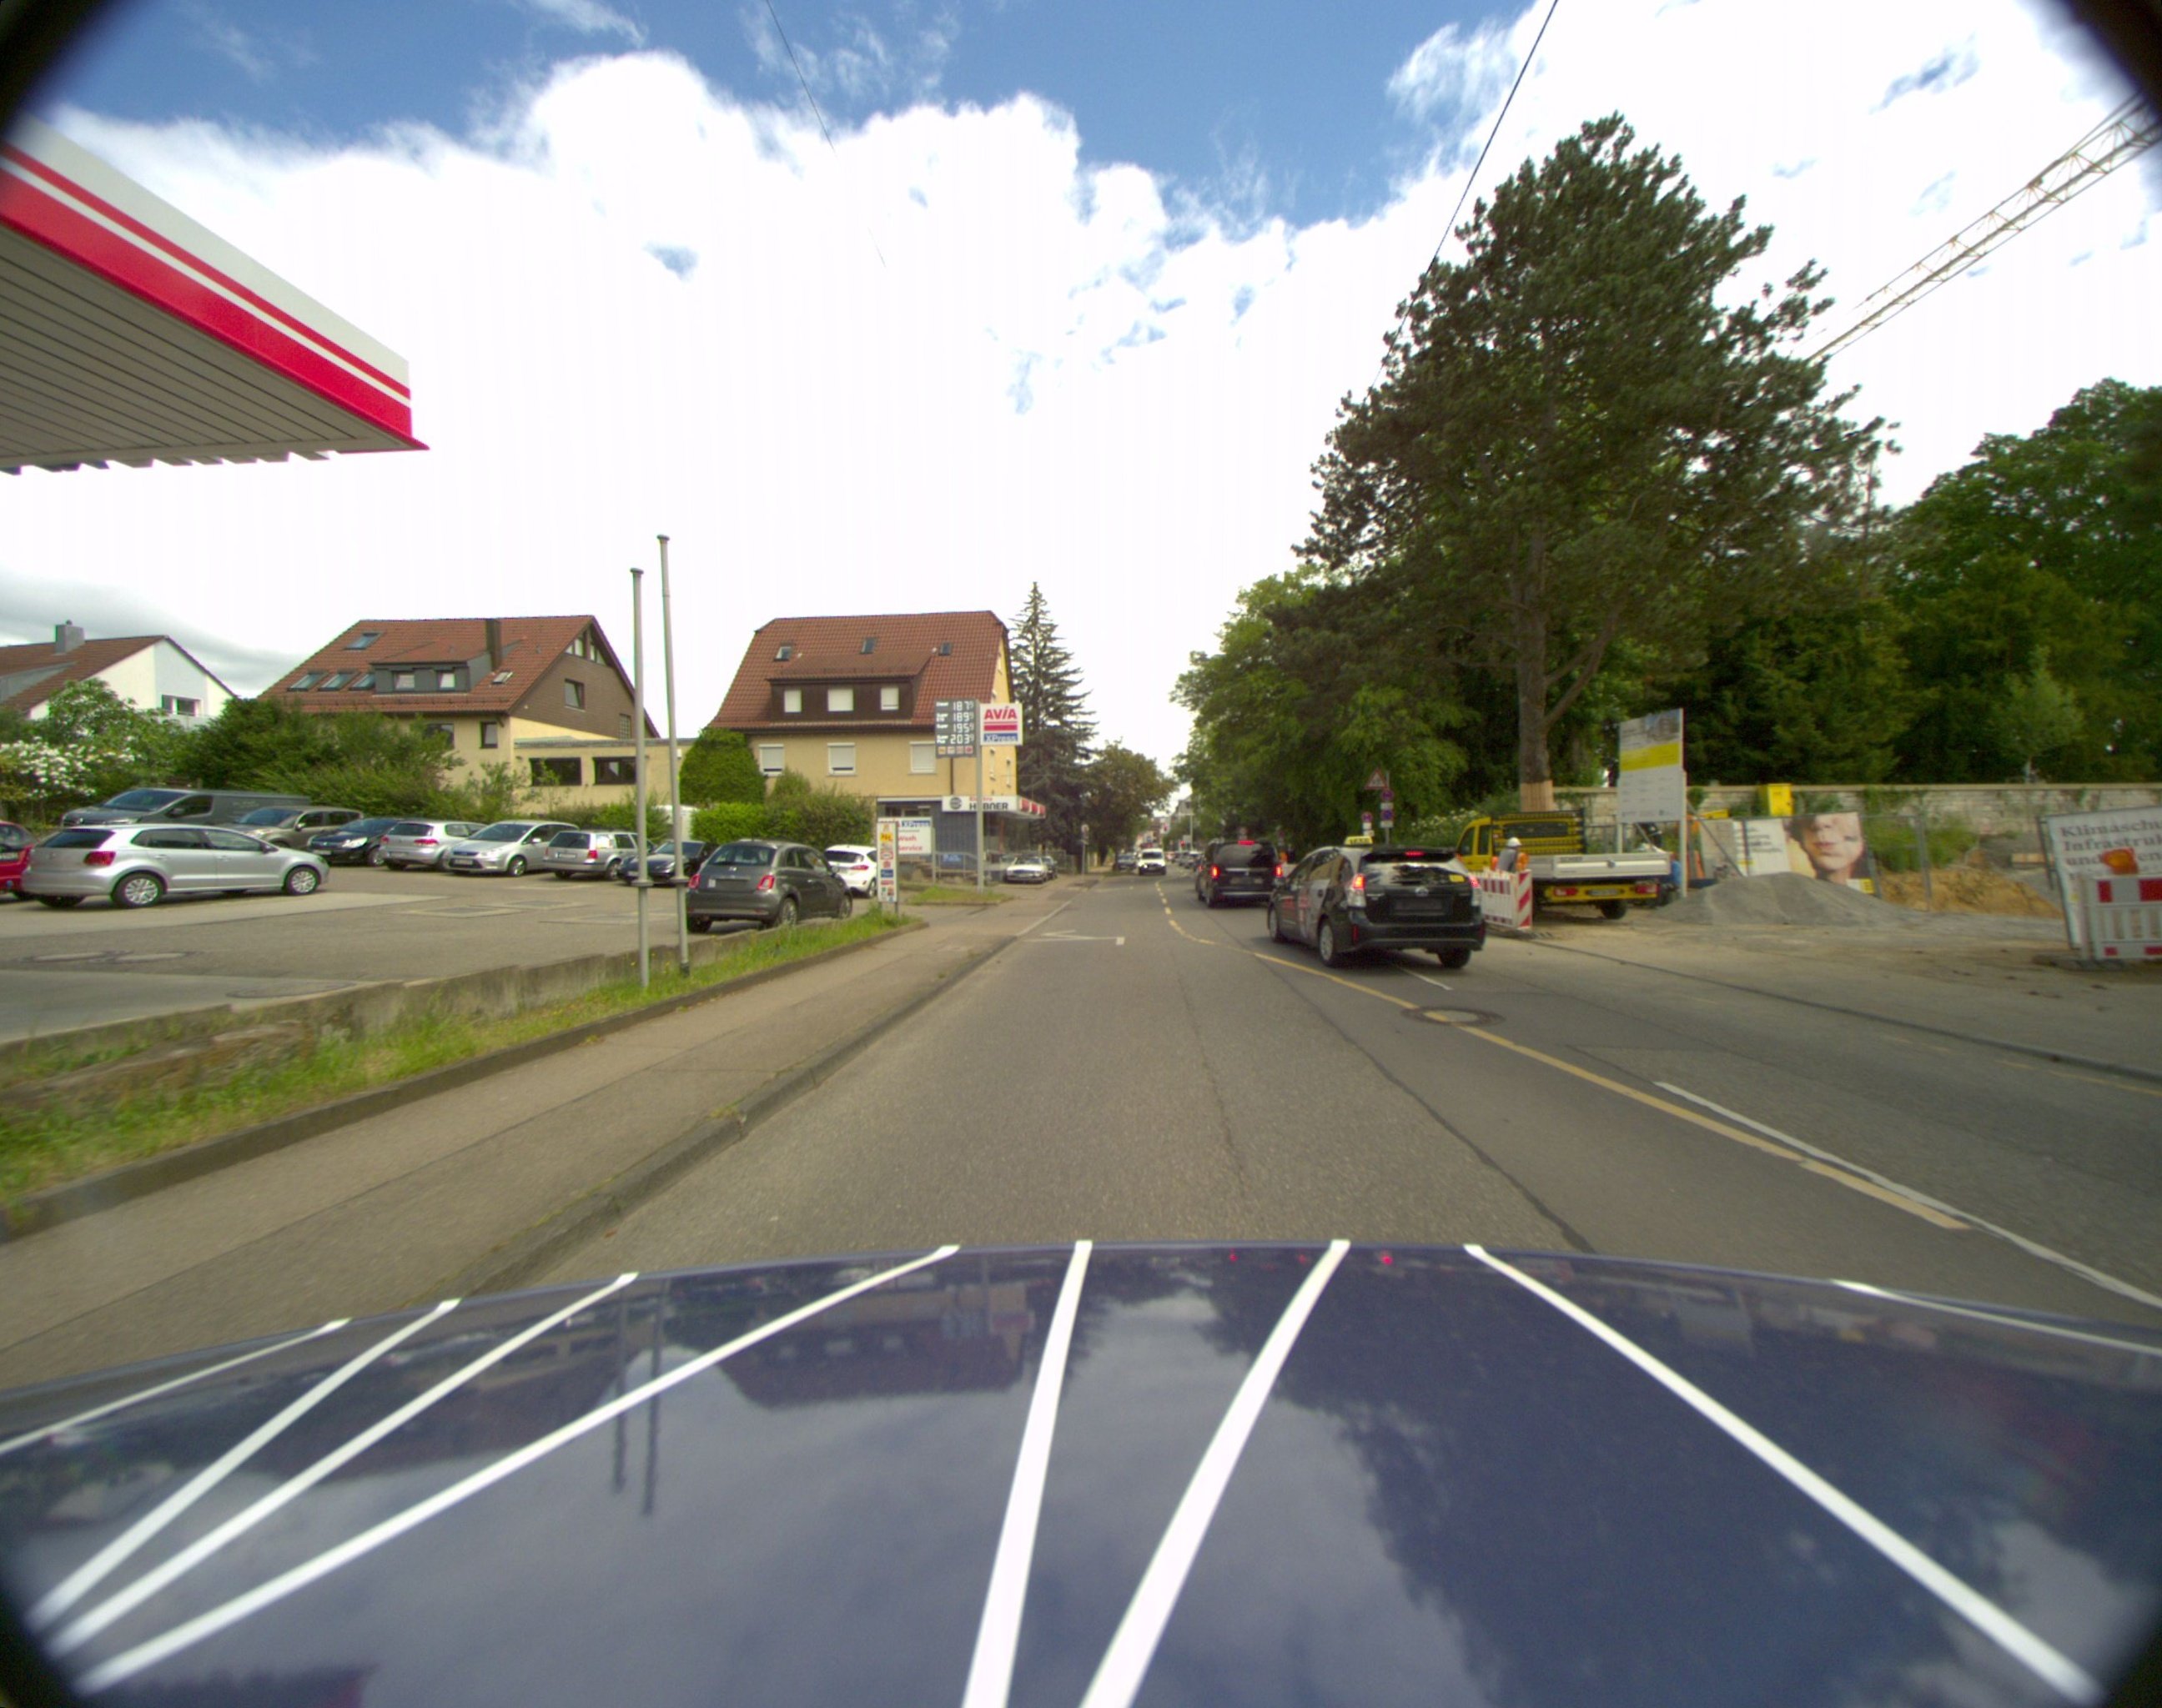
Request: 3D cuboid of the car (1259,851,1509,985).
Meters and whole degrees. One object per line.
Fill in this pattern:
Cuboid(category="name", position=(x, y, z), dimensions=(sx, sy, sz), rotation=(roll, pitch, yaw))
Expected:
Cuboid(category="car", position=(4.002, 0.723, 10.968), dimensions=(1.870, 1.518, 4.528), rotation=(0, 0, 1))

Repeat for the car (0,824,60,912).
Cuboid(category="car", position=(-20.259, 0.222, 13.002), dimensions=(3.750, 1.452, 1.621), rotation=(1, 4, 7))

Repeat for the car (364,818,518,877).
Cuboid(category="car", position=(-19.034, -0.214, 22.812), dimensions=(1.570, 1.560, 3.498), rotation=(3, 2, 2))

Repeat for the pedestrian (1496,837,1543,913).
Cuboid(category="pedestrian", position=(9.153, 0.422, 15.879), dimensions=(0.575, 1.538, 0.655), rotation=(-2, 2, -1))

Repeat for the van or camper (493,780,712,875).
Cuboid(category="van or camper", position=(-16.618, -0.903, 26.653), dimensions=(5.973, 2.834, 2.531), rotation=(3, 1, 1))

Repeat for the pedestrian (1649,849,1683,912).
Cuboid(category="pedestrian", position=(13.378, 0.598, 17.367), dimensions=(0.574, 1.377, 0.539), rotation=(0, 2, 41))

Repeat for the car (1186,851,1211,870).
Cuboid(category="car", position=(10.386, 0.547, 67.393), dimensions=(1.761, 1.582, 4.004), rotation=(1, 1, 4))

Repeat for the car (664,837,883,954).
Cuboid(category="car", position=(-5.115, 0.593, 13.328), dimensions=(1.618, 1.587, 4.161), rotation=(5, 1, 7))

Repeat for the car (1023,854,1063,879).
Cuboid(category="car", position=(-2.077, 0.660, 42.330), dimensions=(1.788, 1.276, 4.317), rotation=(0, 1, 3))

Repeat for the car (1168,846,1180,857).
Cuboid(category="car", position=(14.290, -0.340, 116.883), dimensions=(1.618, 1.582, 4.163), rotation=(1, 1, 4))

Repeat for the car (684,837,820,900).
Cuboid(category="car", position=(-9.394, 0.324, 22.157), dimensions=(1.716, 1.533, 4.656), rotation=(3, 2, 3))

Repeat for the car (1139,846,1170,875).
Cuboid(category="car", position=(5.030, 0.385, 52.431), dimensions=(1.965, 1.796, 4.429), rotation=(-2, 1, 5))

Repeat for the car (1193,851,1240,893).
Cuboid(category="car", position=(5.253, 0.688, 29.784), dimensions=(1.618, 1.514, 3.572), rotation=(0, -1, 7))

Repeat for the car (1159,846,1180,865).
Cuboid(category="car", position=(8.951, 0.141, 77.108), dimensions=(1.965, 1.796, 4.224), rotation=(-2, 1, 5))

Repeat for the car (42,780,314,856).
Cuboid(category="car", position=(-26.607, -1.014, 22.762), dimensions=(1.923, 1.907, 5.136), rotation=(3, 2, 2))

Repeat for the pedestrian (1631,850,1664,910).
Cuboid(category="pedestrian", position=(13.486, 0.602, 18.099), dimensions=(0.574, 1.377, 0.539), rotation=(0, 2, 41))

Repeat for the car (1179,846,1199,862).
Cuboid(category="car", position=(11.526, 0.019, 81.065), dimensions=(1.761, 1.582, 4.163), rotation=(1, 1, 4))

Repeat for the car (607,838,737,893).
Cuboid(category="car", position=(-11.791, 0.262, 22.202), dimensions=(1.640, 1.364, 3.746), rotation=(3, 2, 2))

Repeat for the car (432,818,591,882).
Cuboid(category="car", position=(-16.841, -0.164, 22.739), dimensions=(1.570, 1.674, 4.048), rotation=(3, 2, 2))

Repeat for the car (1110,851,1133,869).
Cuboid(category="car", position=(3.607, 0.509, 67.744), dimensions=(1.938, 1.483, 4.023), rotation=(-2, 1, 4))

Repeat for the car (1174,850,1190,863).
Cuboid(category="car", position=(13.219, 0.328, 99.409), dimensions=(1.761, 1.582, 4.163), rotation=(1, 1, 4))

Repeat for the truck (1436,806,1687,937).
Cuboid(category="truck", position=(10.416, 0.271, 17.273), dimensions=(2.310, 2.406, 6.094), rotation=(-2, 1, 6))

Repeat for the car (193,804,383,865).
Cuboid(category="car", position=(-24.017, -0.585, 23.228), dimensions=(1.570, 1.623, 3.952), rotation=(3, 2, 2))

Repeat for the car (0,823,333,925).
Cuboid(category="car", position=(-16.704, 0.242, 14.153), dimensions=(1.633, 1.493, 3.746), rotation=(3, 4, 6))

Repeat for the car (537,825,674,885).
Cuboid(category="car", position=(-14.184, -0.010, 22.913), dimensions=(1.640, 1.576, 3.746), rotation=(3, 2, 2))

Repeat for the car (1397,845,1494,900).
Cuboid(category="car", position=(10.900, 0.496, 22.945), dimensions=(1.626, 1.499, 3.585), rotation=(-2, 0, 8))

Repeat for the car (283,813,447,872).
Cuboid(category="car", position=(-21.542, -0.373, 23.063), dimensions=(1.570, 1.560, 3.498), rotation=(3, 2, 2))

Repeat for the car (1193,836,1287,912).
Cuboid(category="car", position=(4.444, 0.511, 21.975), dimensions=(1.913, 1.940, 4.914), rotation=(0, 0, 3))

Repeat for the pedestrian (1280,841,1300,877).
Cuboid(category="pedestrian", position=(10.975, 0.245, 39.856), dimensions=(0.835, 1.837, 1.022), rotation=(-2, 2, 7))

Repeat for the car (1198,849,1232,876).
Cuboid(category="car", position=(8.317, 0.524, 47.475), dimensions=(1.780, 1.547, 4.003), rotation=(1, 1, 5))

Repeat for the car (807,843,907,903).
Cuboid(category="car", position=(-6.657, 0.486, 23.043), dimensions=(1.638, 1.520, 4.203), rotation=(3, 2, 1))

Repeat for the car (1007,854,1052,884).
Cuboid(category="car", position=(-2.492, 0.699, 37.504), dimensions=(1.789, 1.309, 4.481), rotation=(0, 1, 1))

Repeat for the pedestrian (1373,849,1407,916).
Cuboid(category="pedestrian", position=(7.598, 0.683, 18.686), dimensions=(0.538, 1.592, 0.570), rotation=(-3, 2, -41))
